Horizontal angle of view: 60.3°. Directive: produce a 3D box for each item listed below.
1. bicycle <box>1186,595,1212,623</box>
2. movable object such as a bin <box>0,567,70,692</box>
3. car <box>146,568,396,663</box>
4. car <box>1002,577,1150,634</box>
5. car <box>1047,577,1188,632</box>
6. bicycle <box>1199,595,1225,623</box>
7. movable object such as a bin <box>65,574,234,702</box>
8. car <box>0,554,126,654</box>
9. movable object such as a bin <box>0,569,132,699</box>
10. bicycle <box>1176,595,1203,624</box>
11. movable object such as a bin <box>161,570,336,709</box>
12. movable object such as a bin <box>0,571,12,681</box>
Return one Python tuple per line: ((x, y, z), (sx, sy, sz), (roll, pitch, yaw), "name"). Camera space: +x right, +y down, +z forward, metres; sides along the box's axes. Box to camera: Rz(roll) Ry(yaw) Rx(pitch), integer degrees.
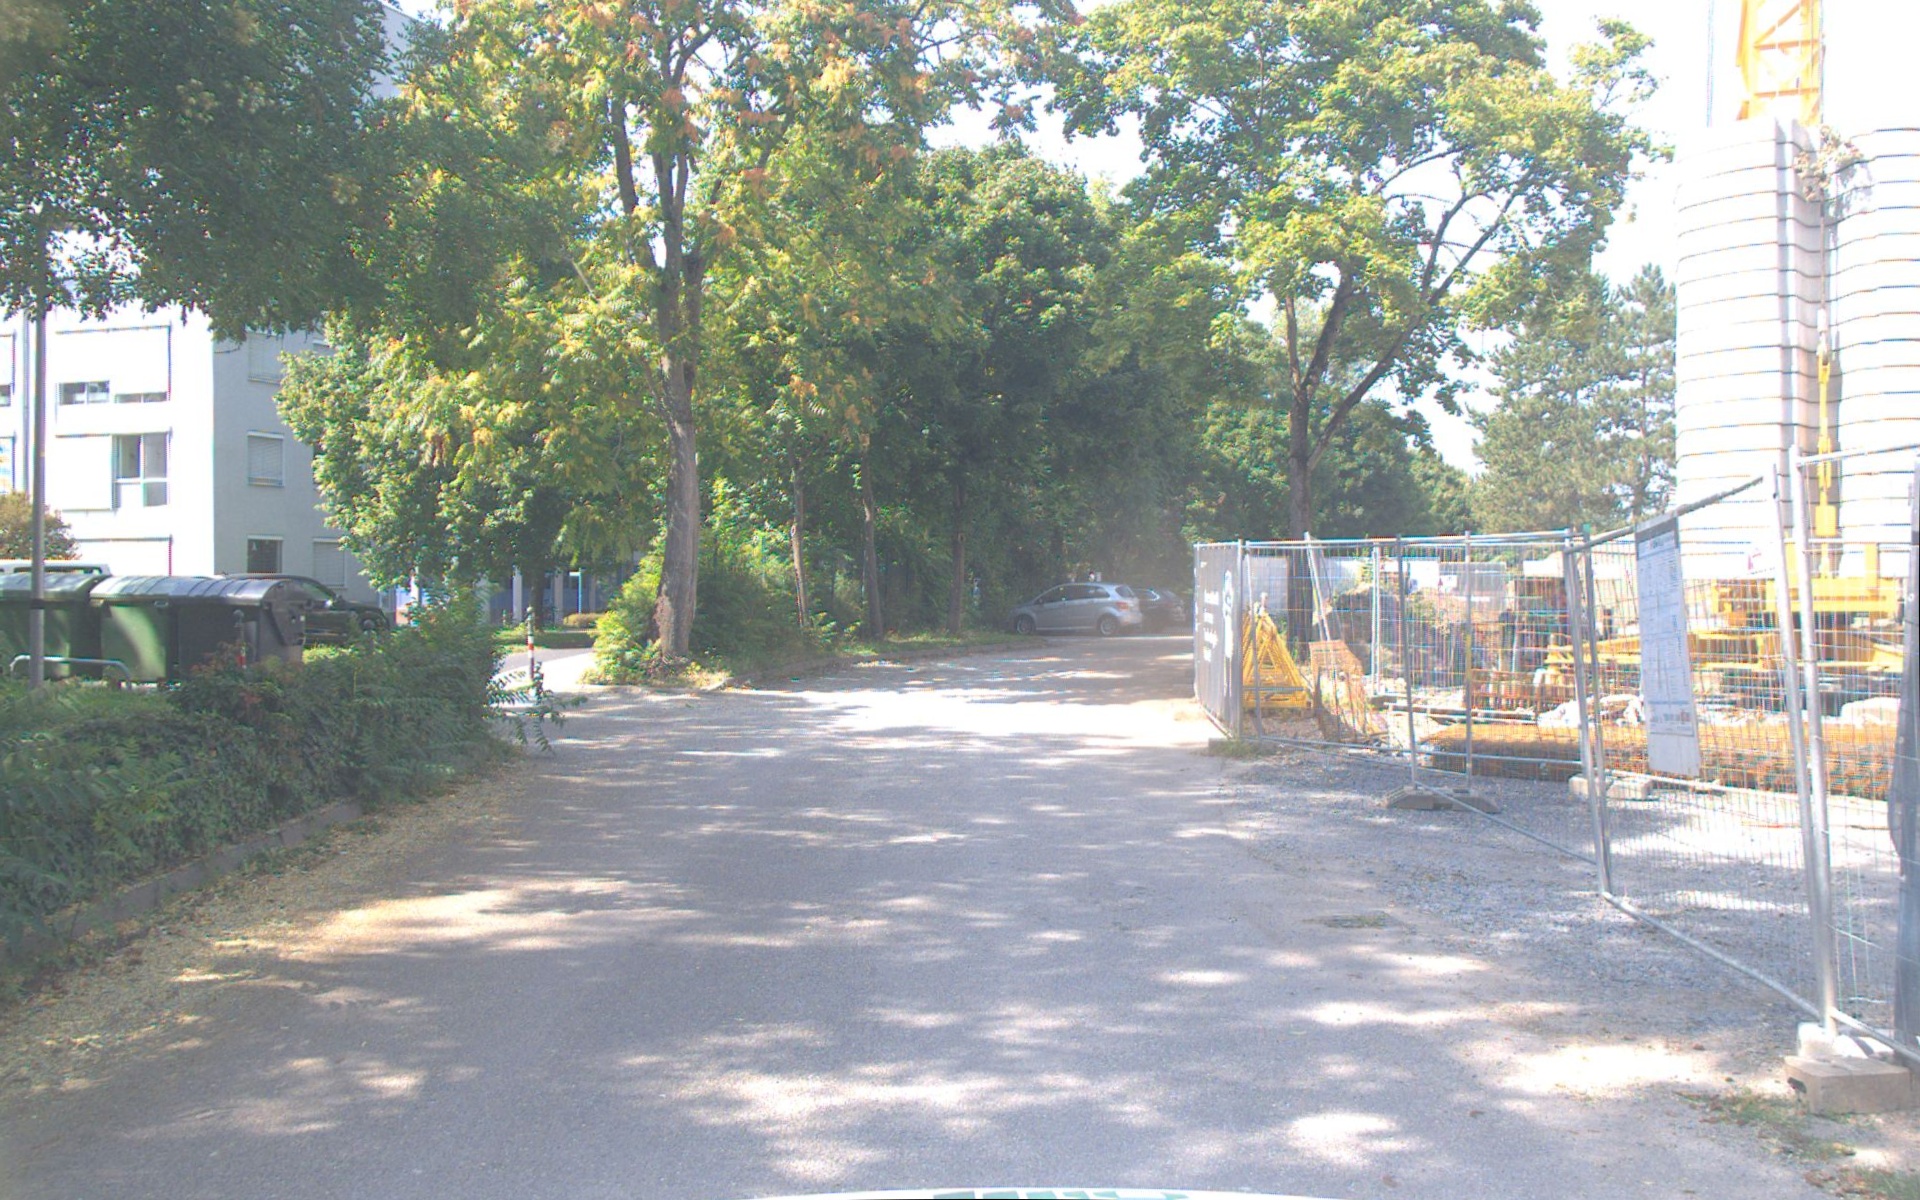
((9.805, 0.360, 67.797), (0.489, 1.127, 1.798), (1, 1, 27), "bicycle")
((-12.093, 0.347, 20.631), (1.177, 1.522, 1.250), (1, 0, 17), "movable object such as a bin")
((-12.009, 0.238, 29.069), (1.669, 1.554, 3.906), (0, 0, 28), "car")
((3.550, 0.138, 50.551), (4.064, 1.641, 1.999), (1, 1, 24), "car")
((5.031, 0.117, 52.765), (4.064, 1.641, 1.999), (1, 1, 24), "car")
((10.298, 0.357, 67.600), (0.489, 1.127, 1.798), (1, 1, 27), "bicycle")
((-9.661, 0.432, 19.757), (1.299, 1.457, 1.250), (1, 0, 16), "movable object such as a bin")
((-19.337, 0.068, 32.247), (2.444, 1.914, 5.081), (0, 0, 25), "car")
((-10.865, 0.389, 19.955), (1.075, 1.507, 1.102), (1, 0, 17), "movable object such as a bin")
((9.121, 0.362, 65.733), (0.489, 1.127, 1.798), (1, 1, 27), "bicycle")
((-8.217, 0.434, 19.173), (1.339, 1.519, 1.337), (1, 0, 8), "movable object such as a bin")
((-13.458, 0.331, 21.739), (1.177, 1.469, 1.250), (1, 0, 17), "movable object such as a bin")
